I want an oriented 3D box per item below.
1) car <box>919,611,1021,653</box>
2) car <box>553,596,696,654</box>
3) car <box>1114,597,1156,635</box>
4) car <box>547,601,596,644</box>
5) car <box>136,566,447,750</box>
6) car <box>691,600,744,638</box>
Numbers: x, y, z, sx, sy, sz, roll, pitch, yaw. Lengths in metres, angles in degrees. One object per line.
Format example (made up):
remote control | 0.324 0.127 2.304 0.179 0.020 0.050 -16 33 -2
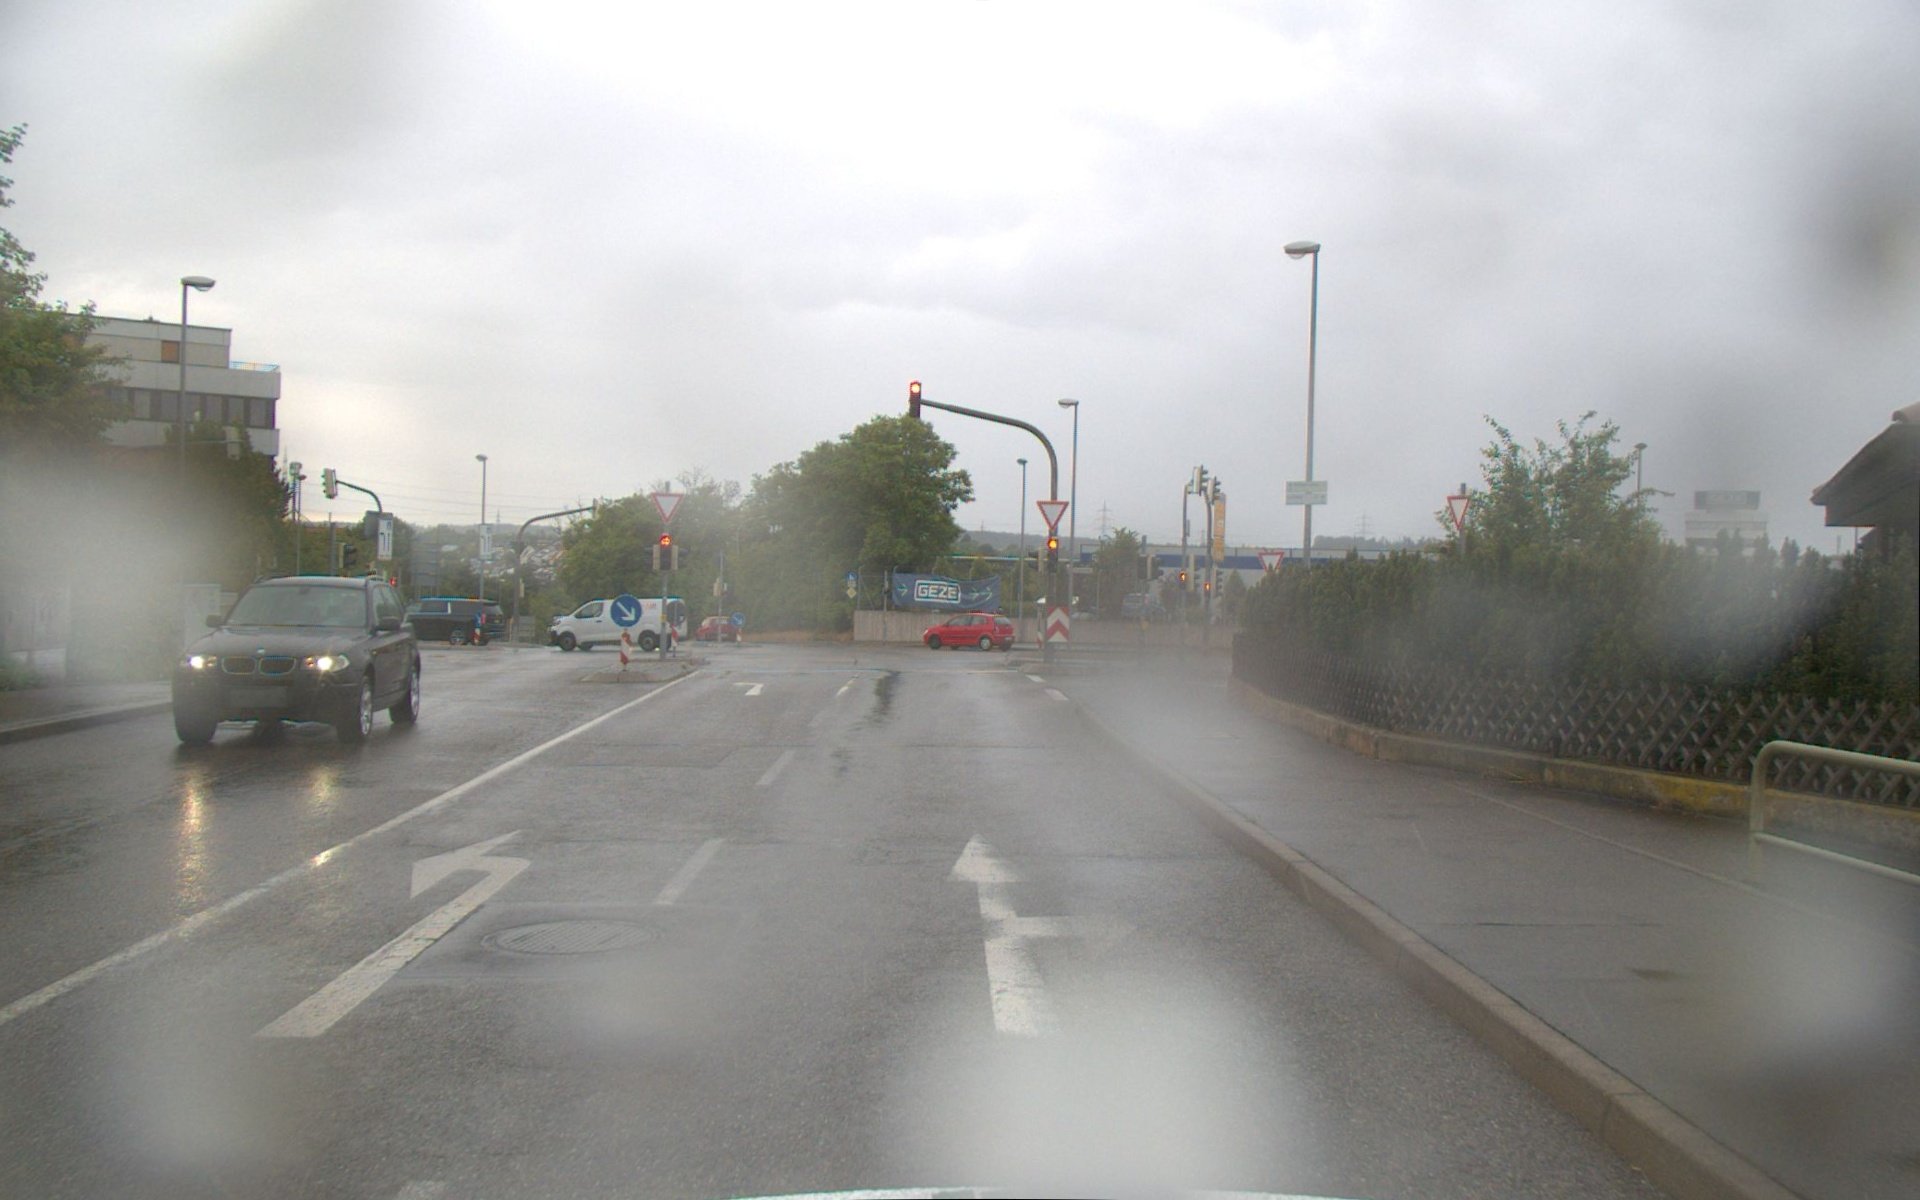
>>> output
car | 0.392 1.270 66.407 3.723 1.474 1.618 3 0 29
car | -12.745 0.944 62.919 4.889 2.049 2.002 1 -1 10
car | 9.709 0.899 91.593 1.951 2.049 4.003 1 -1 11
car | -19.211 1.083 81.760 1.963 1.928 3.979 2 0 -18
car | -6.973 0.560 17.784 1.955 1.697 4.409 1 0 -7
car | -13.546 1.042 92.189 1.966 1.940 3.974 2 0 -22
